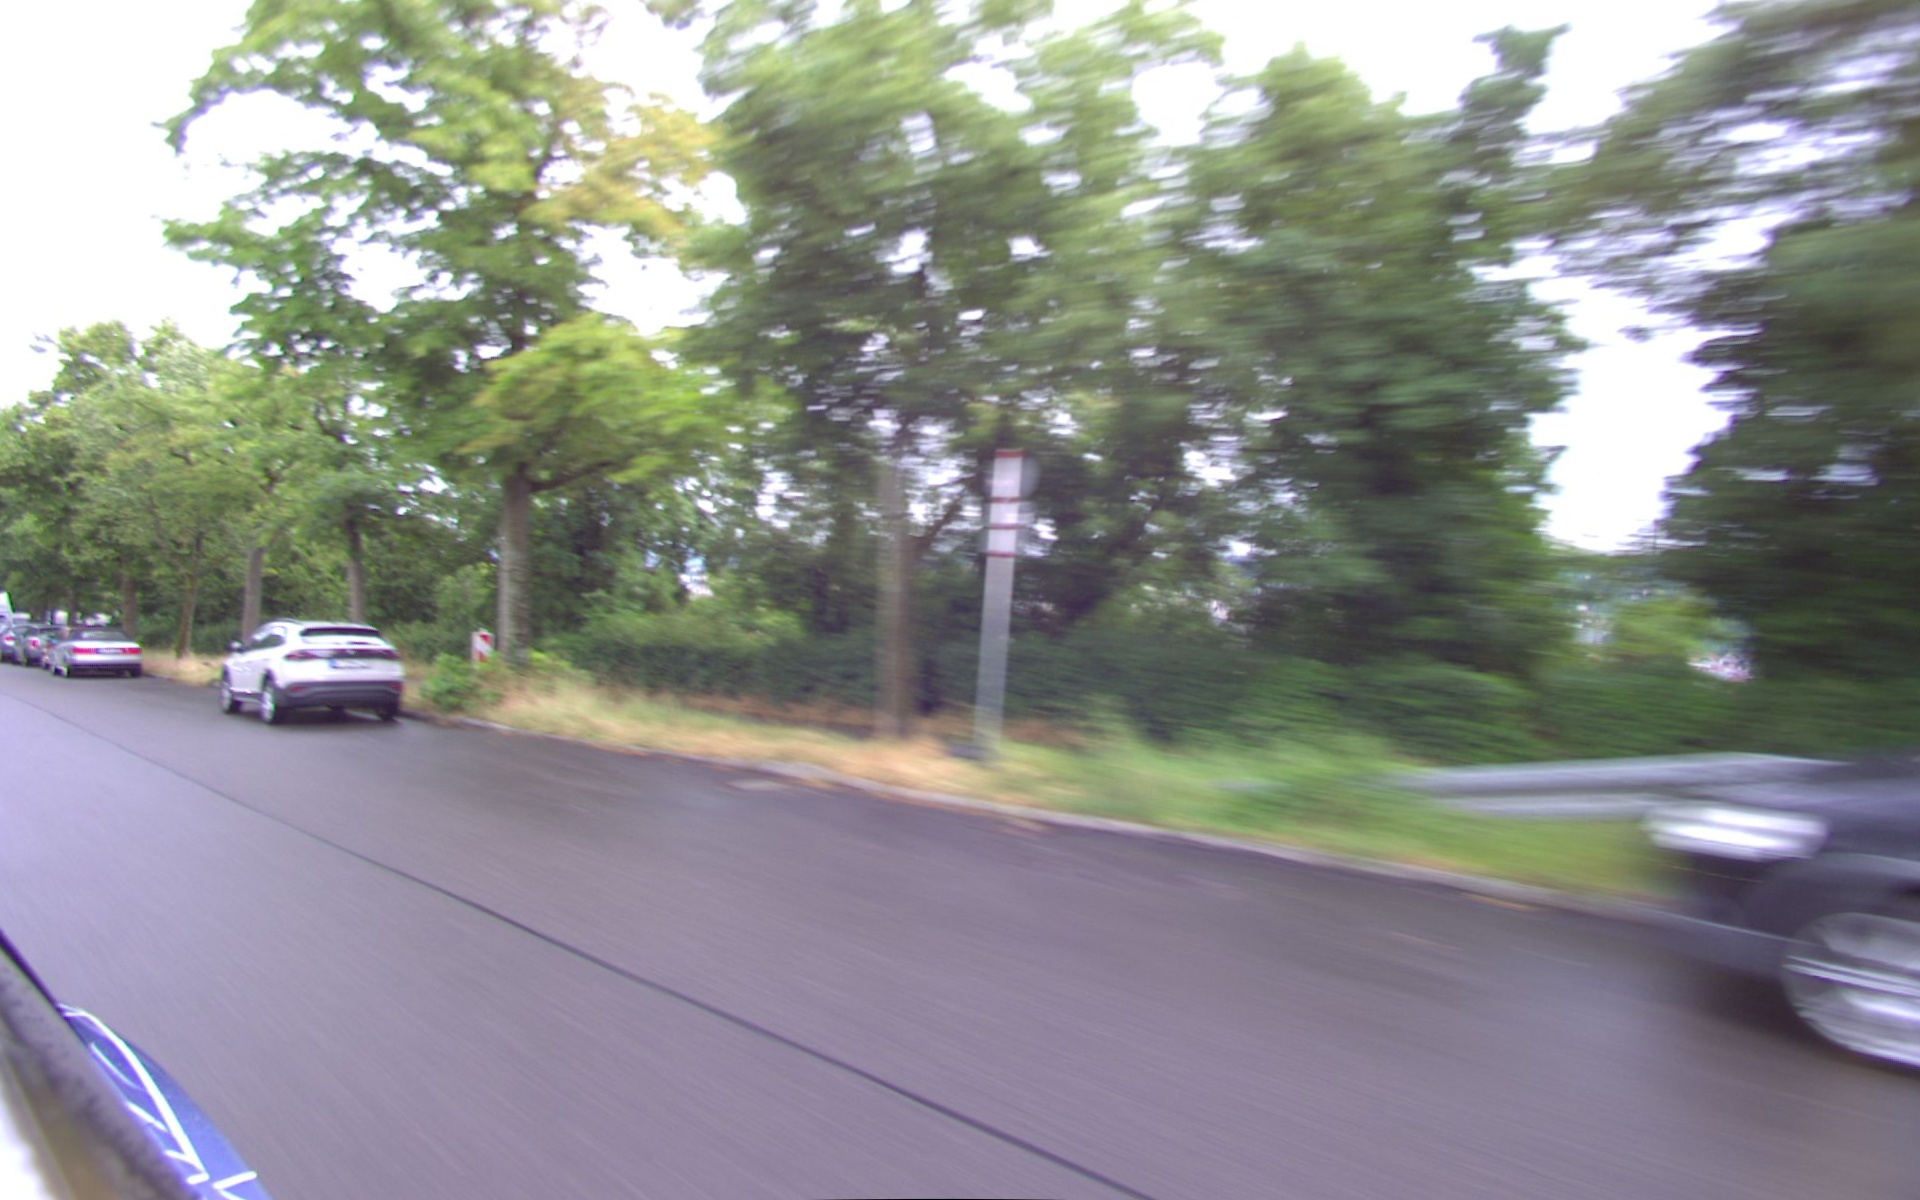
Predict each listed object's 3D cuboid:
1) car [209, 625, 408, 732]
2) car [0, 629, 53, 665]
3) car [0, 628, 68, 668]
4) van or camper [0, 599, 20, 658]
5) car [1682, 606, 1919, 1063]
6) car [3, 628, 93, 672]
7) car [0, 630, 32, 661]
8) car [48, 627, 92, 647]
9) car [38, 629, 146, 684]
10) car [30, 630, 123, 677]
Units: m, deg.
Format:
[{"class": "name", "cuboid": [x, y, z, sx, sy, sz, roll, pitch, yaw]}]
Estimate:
[{"class": "car", "cuboid": [-10.357, 1.135, 15.961, 4.257, 1.448, 1.670, -1, -2, 44]}, {"class": "car", "cuboid": [-39.413, 1.982, 42.288, 1.970, 1.416, 4.717, 4, -5, -44]}, {"class": "car", "cuboid": [-35.898, 1.826, 38.907, 4.715, 1.416, 1.971, -1, -3, 44]}, {"class": "van or camper", "cuboid": [-51.937, 1.474, 53.644, 6.560, 3.050, 2.478, -1, -3, 42]}, {"class": "car", "cuboid": [4.770, 0.757, 2.911, 4.253, 1.448, 1.779, -1, -2, 41]}, {"class": "car", "cuboid": [-32.169, 1.750, 35.660, 4.715, 1.416, 1.971, -1, -3, 44]}, {"class": "car", "cuboid": [-44.111, 2.090, 46.305, 5.355, 1.319, 1.971, -3, -5, 43]}, {"class": "car", "cuboid": [-74.651, 3.115, 84.941, 1.660, 1.521, 4.219, 5, -3, -26]}, {"class": "car", "cuboid": [-24.698, 1.560, 28.746, 4.418, 1.413, 1.736, -1, -2, 42]}, {"class": "car", "cuboid": [-28.312, 1.676, 32.394, 3.997, 1.372, 1.579, -1, -2, 39]}]
